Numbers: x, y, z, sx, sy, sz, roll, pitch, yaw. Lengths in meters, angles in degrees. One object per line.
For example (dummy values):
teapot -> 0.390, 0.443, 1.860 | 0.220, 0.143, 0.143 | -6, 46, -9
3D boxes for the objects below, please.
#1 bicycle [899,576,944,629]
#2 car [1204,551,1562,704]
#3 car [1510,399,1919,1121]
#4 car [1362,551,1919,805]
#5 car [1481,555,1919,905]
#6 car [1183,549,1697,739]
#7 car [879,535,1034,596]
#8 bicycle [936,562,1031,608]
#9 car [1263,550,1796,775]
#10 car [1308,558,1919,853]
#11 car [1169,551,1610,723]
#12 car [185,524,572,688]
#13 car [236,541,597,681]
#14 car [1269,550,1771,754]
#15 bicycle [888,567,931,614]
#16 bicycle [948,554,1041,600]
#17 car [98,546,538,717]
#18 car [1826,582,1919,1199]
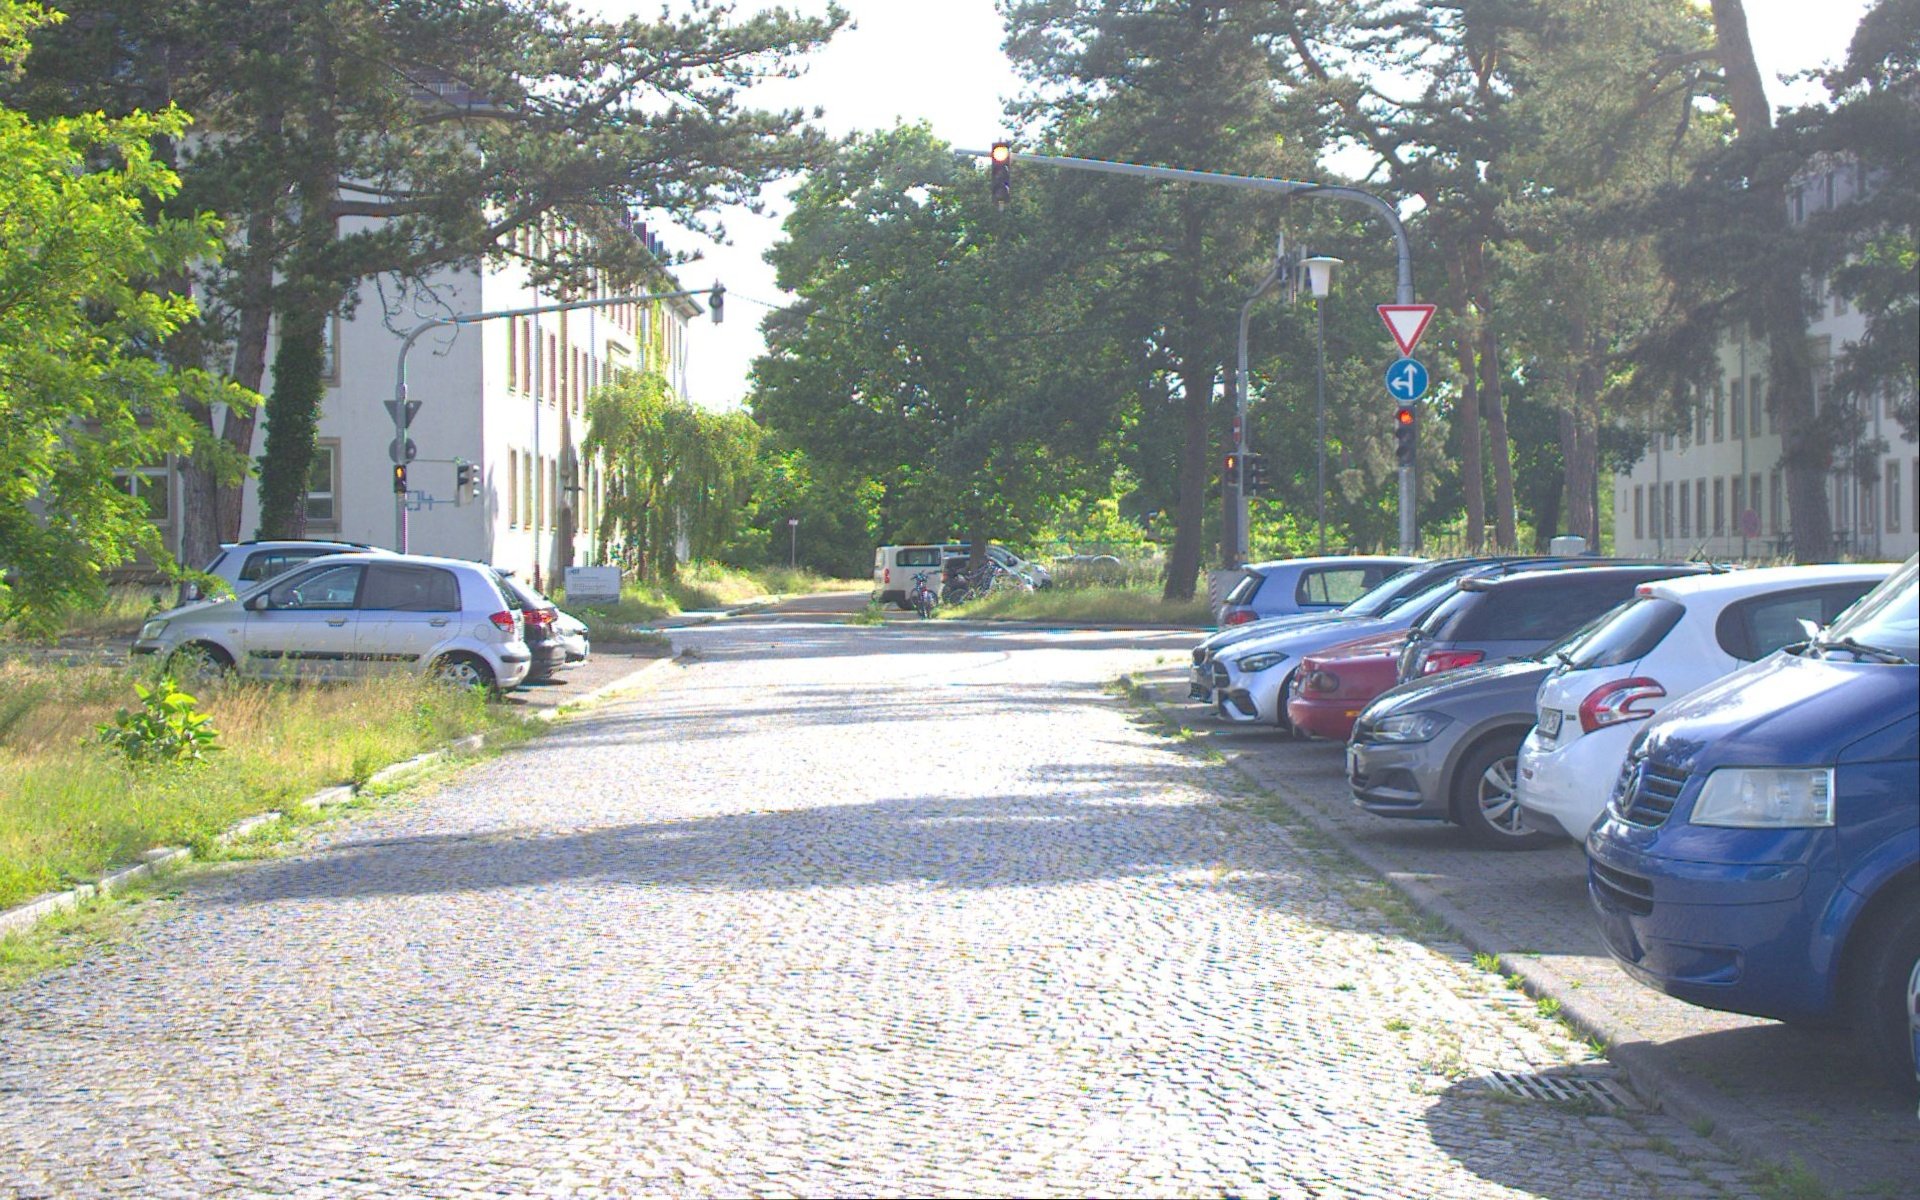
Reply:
bicycle -> -0.901, 0.054, 79.882 | 0.804, 1.165, 2.181 | -2, 1, -6
car -> 4.187, 0.257, 34.347 | 3.343, 1.477, 1.645 | 0, 1, -1
car -> 4.255, 0.419, 10.718 | 4.676, 2.007, 2.084 | 0, 1, -3
car -> 4.391, 0.461, 21.704 | 3.478, 1.524, 1.645 | 0, 1, -1
car -> 4.399, 0.536, 15.898 | 3.694, 1.461, 1.645 | -2, 1, 1
car -> 3.991, 0.344, 28.935 | 4.033, 1.524, 1.646 | 0, 1, -4
car -> -0.113, -1.015, 100.804 | 4.480, 1.722, 2.000 | 0, 1, -1
bicycle -> 0.567, -0.366, 83.338 | 2.172, 1.096, 0.807 | 0, 1, -10
car -> 3.982, 0.416, 24.396 | 3.478, 1.524, 1.645 | 0, 1, -1
car -> 3.852, 0.539, 18.786 | 3.675, 1.462, 1.645 | -1, 1, -1
car -> 3.911, 0.323, 31.707 | 3.835, 1.524, 1.645 | 0, 1, -1
car -> -6.536, 0.050, 38.953 | 3.987, 1.596, 2.000 | 3, 1, -1
car -> -6.489, 0.113, 41.356 | 3.987, 1.448, 2.000 | 3, 1, -1
car -> 4.302, 0.378, 26.753 | 3.602, 1.524, 1.645 | 0, 1, -1
bicycle -> -1.225, -0.237, 82.779 | 0.804, 1.096, 2.181 | 0, 1, -6
bicycle -> 0.842, -0.566, 84.396 | 2.172, 1.096, 0.807 | 0, 1, -10
car -> -6.199, 0.277, 33.566 | 3.986, 1.595, 2.000 | 0, 1, -3
car -> 4.115, 0.685, 8.042 | 3.718, 1.483, 1.646 | -1, 1, -2
